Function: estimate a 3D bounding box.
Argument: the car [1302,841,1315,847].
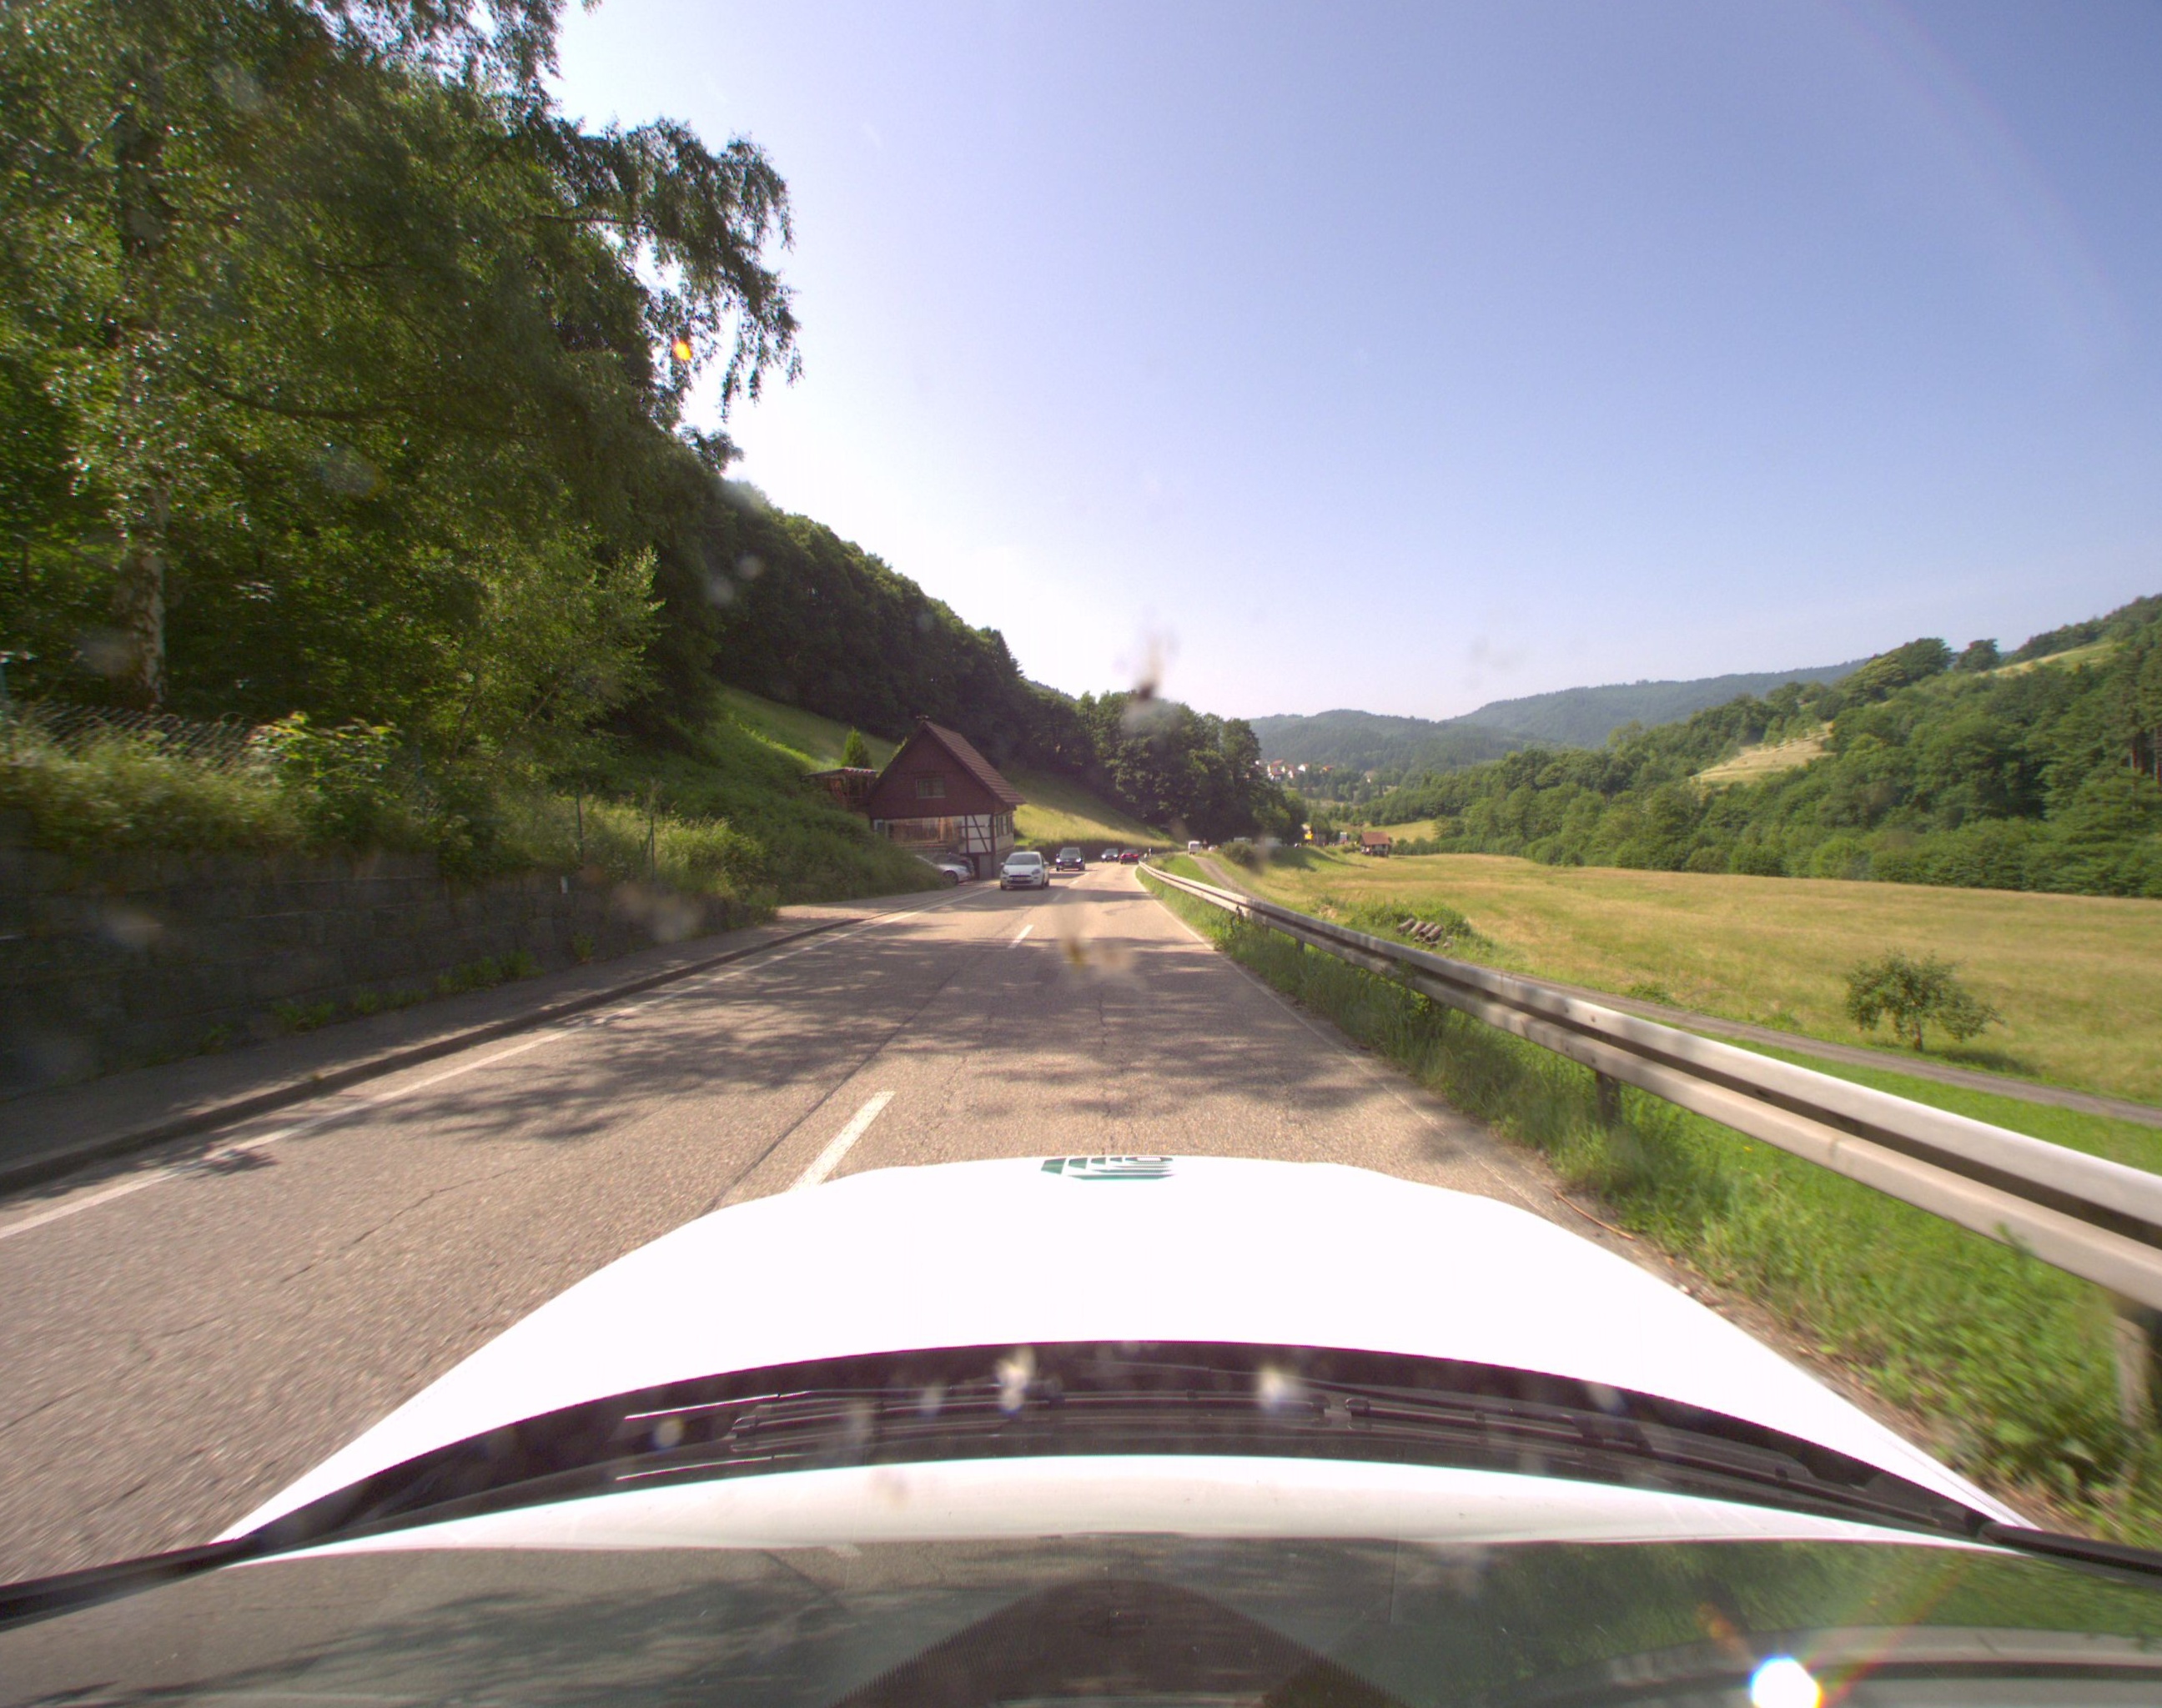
[{"bbox_3d":[59.153,-2.570,211.635,1.889,1.485,4.025,5,2,33],"label":"car"}]

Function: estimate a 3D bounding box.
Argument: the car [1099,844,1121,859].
[{"bbox_3d":[3.072,-0.253,85.097,1.754,1.396,4.157,0,2,10],"label":"car"}]

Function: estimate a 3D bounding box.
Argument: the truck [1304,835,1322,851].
[{"bbox_3d":[66.957,-3.131,235.140,3.158,4.396,6.614,2,3,33],"label":"truck"}]

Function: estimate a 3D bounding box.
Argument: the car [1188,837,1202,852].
[{"bbox_3d":[18.948,-1.575,135.106,1.980,2.352,4.931,0,2,11],"label":"car"}]

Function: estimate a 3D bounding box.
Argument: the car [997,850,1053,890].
[{"bbox_3d":[-2.179,0.625,32.616,1.771,1.437,4.001,-2,0,2],"label":"car"}]

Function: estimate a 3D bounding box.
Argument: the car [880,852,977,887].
[{"bbox_3d":[-6.743,0.675,36.229,3.798,1.416,1.860,-1,1,4],"label":"car"}]

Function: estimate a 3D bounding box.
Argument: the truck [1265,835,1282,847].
[{"bbox_3d":[45.339,-3.069,191.872,2.216,2.803,6.271,1,0,30],"label":"truck"}]

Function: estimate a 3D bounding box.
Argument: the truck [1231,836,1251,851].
[{"bbox_3d":[34.020,-2.209,172.531,2.767,2.997,6.906,3,3,22],"label":"truck"}]

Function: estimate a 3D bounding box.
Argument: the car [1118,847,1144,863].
[{"bbox_3d":[4.626,0.098,74.965,1.759,1.335,3.781,0,2,13],"label":"car"}]

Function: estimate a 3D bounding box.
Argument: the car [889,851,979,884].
[{"bbox_3d":[-6.978,0.610,38.872,3.798,1.432,1.866,-1,1,4],"label":"car"}]

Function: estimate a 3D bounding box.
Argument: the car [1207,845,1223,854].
[{"bbox_3d":[25.479,-0.925,154.729,1.976,1.483,4.022,3,3,22],"label":"car"}]

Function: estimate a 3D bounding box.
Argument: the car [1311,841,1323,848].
[{"bbox_3d":[63.699,-2.542,219.793,1.975,1.925,4.025,4,1,34],"label":"car"}]

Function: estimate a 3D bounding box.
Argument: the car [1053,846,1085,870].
[{"bbox_3d":[-0.825,0.278,57.808,1.881,1.645,4.262,-1,0,3],"label":"car"}]
